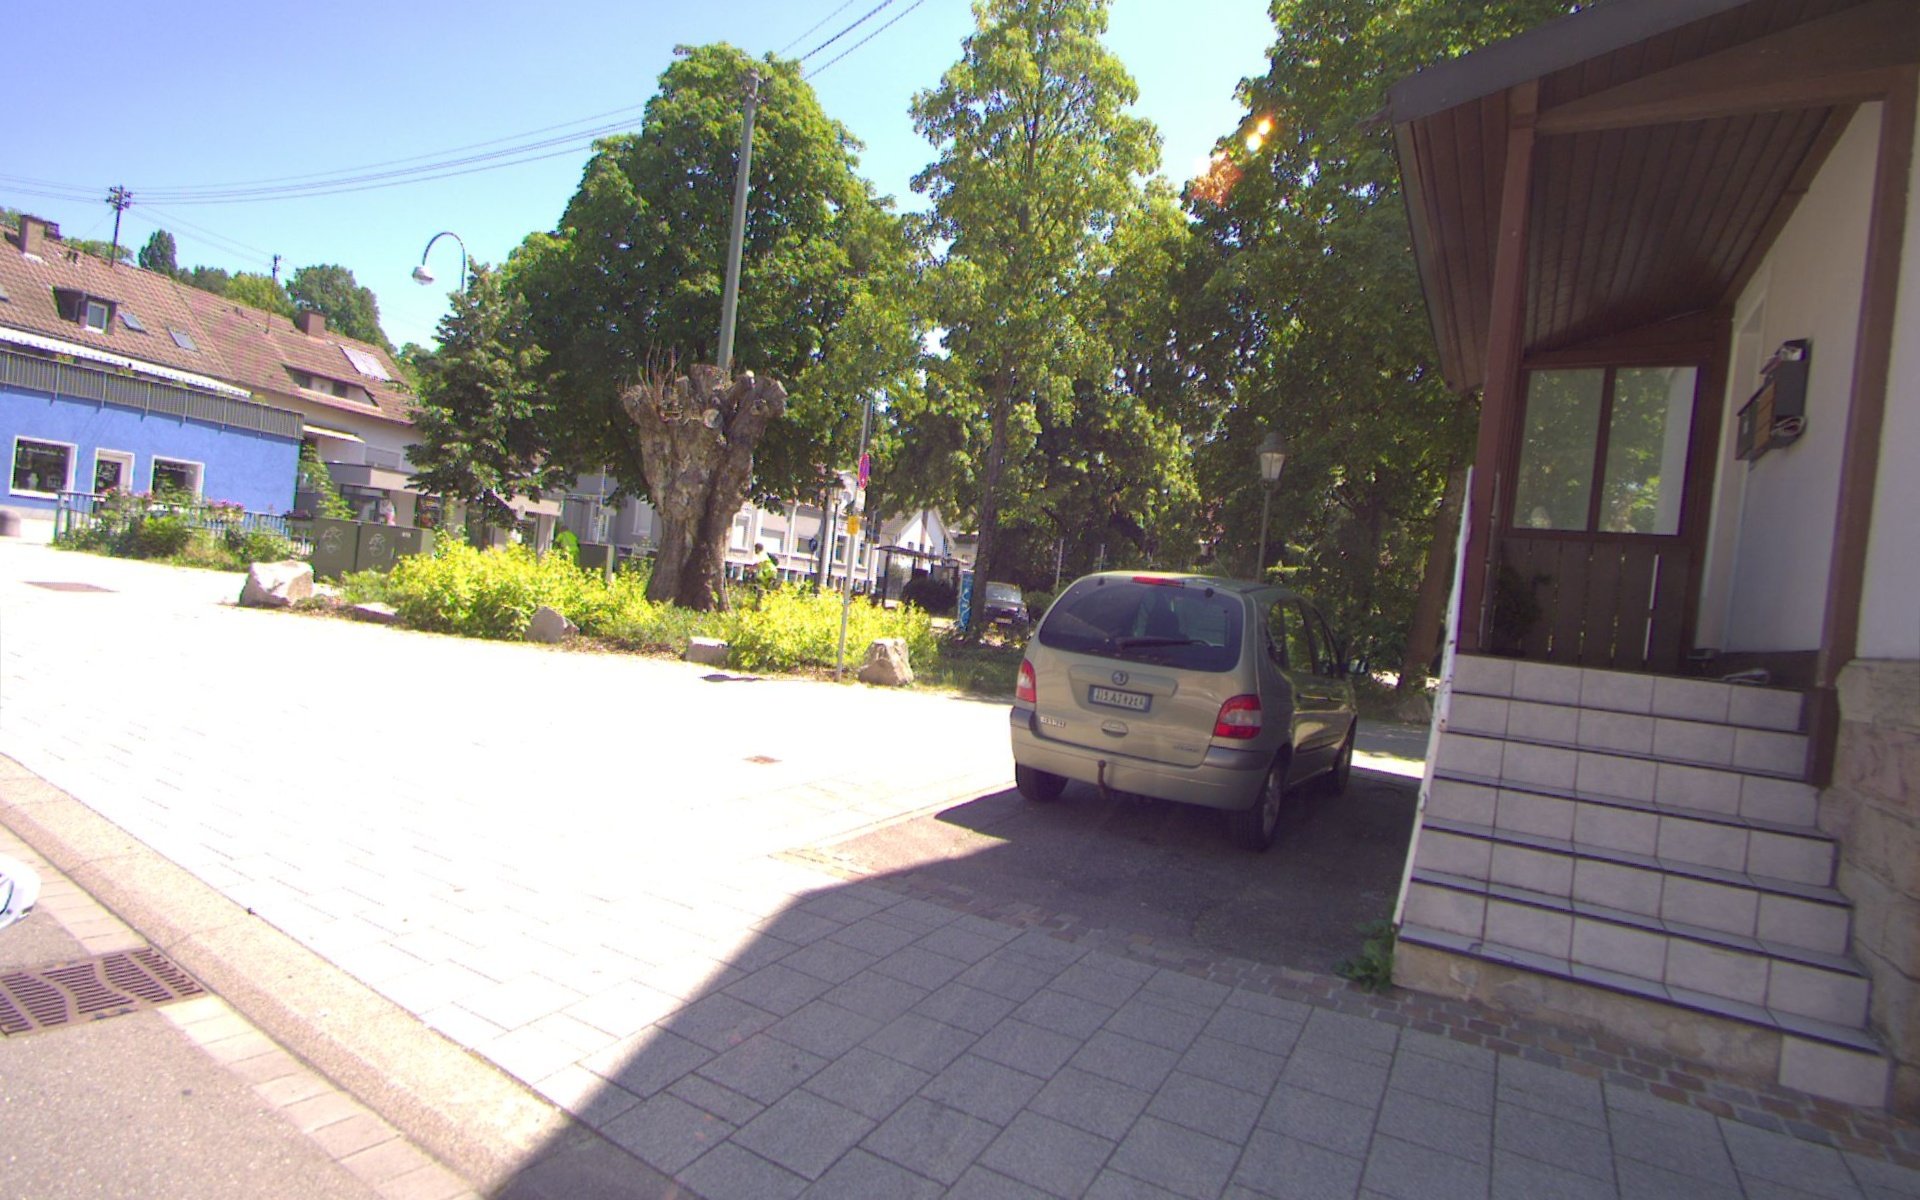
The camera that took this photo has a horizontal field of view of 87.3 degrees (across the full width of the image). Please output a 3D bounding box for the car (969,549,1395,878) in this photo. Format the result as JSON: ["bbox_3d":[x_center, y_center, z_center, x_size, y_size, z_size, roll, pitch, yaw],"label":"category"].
[{"bbox_3d":[1.917,0.638,7.511,1.772,1.616,4.062,7,2,31],"label":"car"}]

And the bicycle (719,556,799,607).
[{"bbox_3d":[-5.155,-0.467,25.871,1.816,1.097,0.746,6,1,-3],"label":"bicycle"}]

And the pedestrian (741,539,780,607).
[{"bbox_3d":[-5.130,-0.676,25.887,0.705,1.653,0.746,6,2,-3],"label":"pedestrian"}]

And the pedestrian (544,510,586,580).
[{"bbox_3d":[-10.988,-1.527,28.002,0.670,1.824,0.735,9,4,39],"label":"pedestrian"}]

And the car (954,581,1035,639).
[{"bbox_3d":[1.009,0.268,31.262,1.645,1.472,3.754,6,1,-10],"label":"car"}]

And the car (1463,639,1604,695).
[{"bbox_3d":[32.858,3.803,57.975,2.169,2.268,6.711,6,1,-30],"label":"car"}]
